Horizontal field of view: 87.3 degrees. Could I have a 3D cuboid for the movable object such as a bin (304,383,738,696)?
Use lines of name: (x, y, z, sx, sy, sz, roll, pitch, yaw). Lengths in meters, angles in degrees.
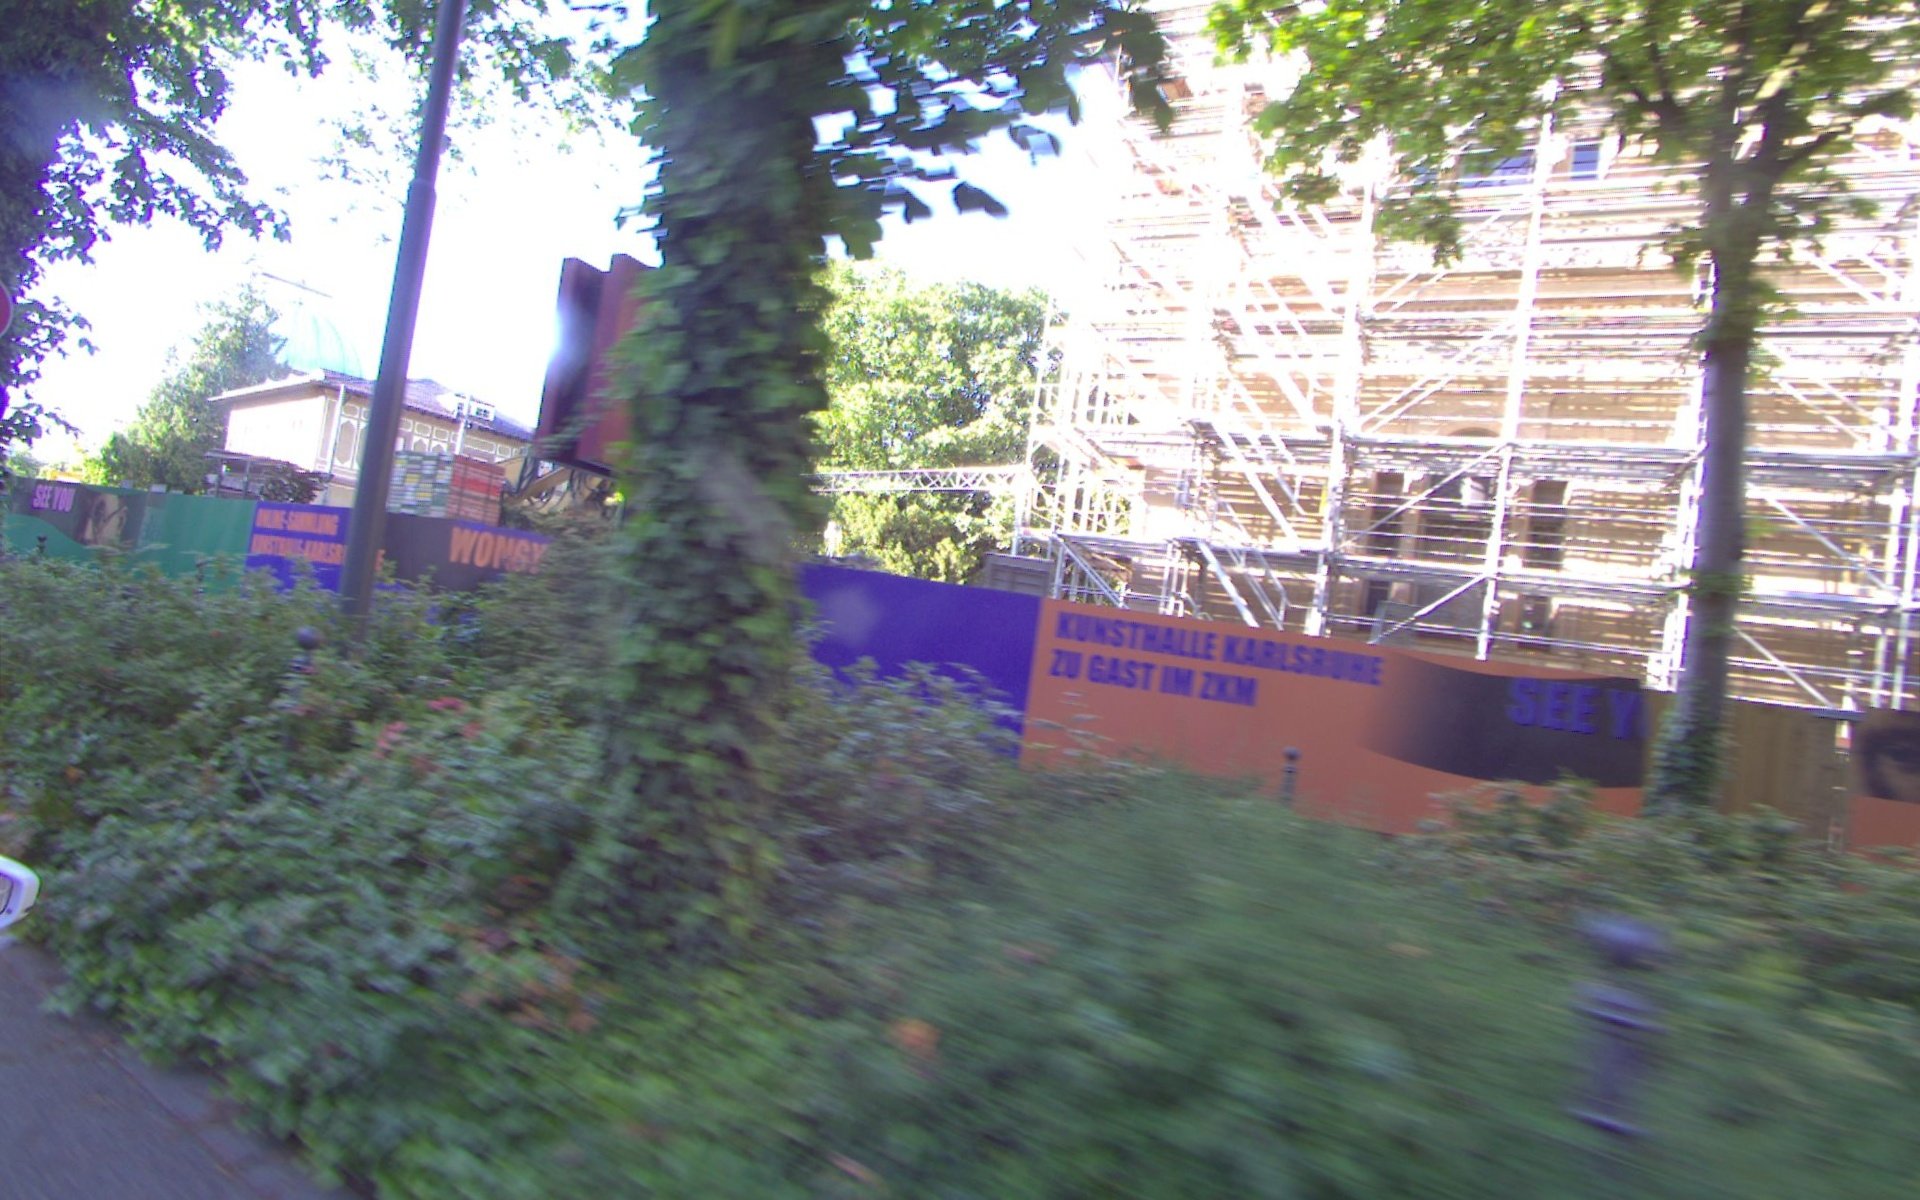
movable object such as a bin: (-8.303, -1.129, 18.618, 7.780, 4.591, 3.312, 6, -2, 35)
